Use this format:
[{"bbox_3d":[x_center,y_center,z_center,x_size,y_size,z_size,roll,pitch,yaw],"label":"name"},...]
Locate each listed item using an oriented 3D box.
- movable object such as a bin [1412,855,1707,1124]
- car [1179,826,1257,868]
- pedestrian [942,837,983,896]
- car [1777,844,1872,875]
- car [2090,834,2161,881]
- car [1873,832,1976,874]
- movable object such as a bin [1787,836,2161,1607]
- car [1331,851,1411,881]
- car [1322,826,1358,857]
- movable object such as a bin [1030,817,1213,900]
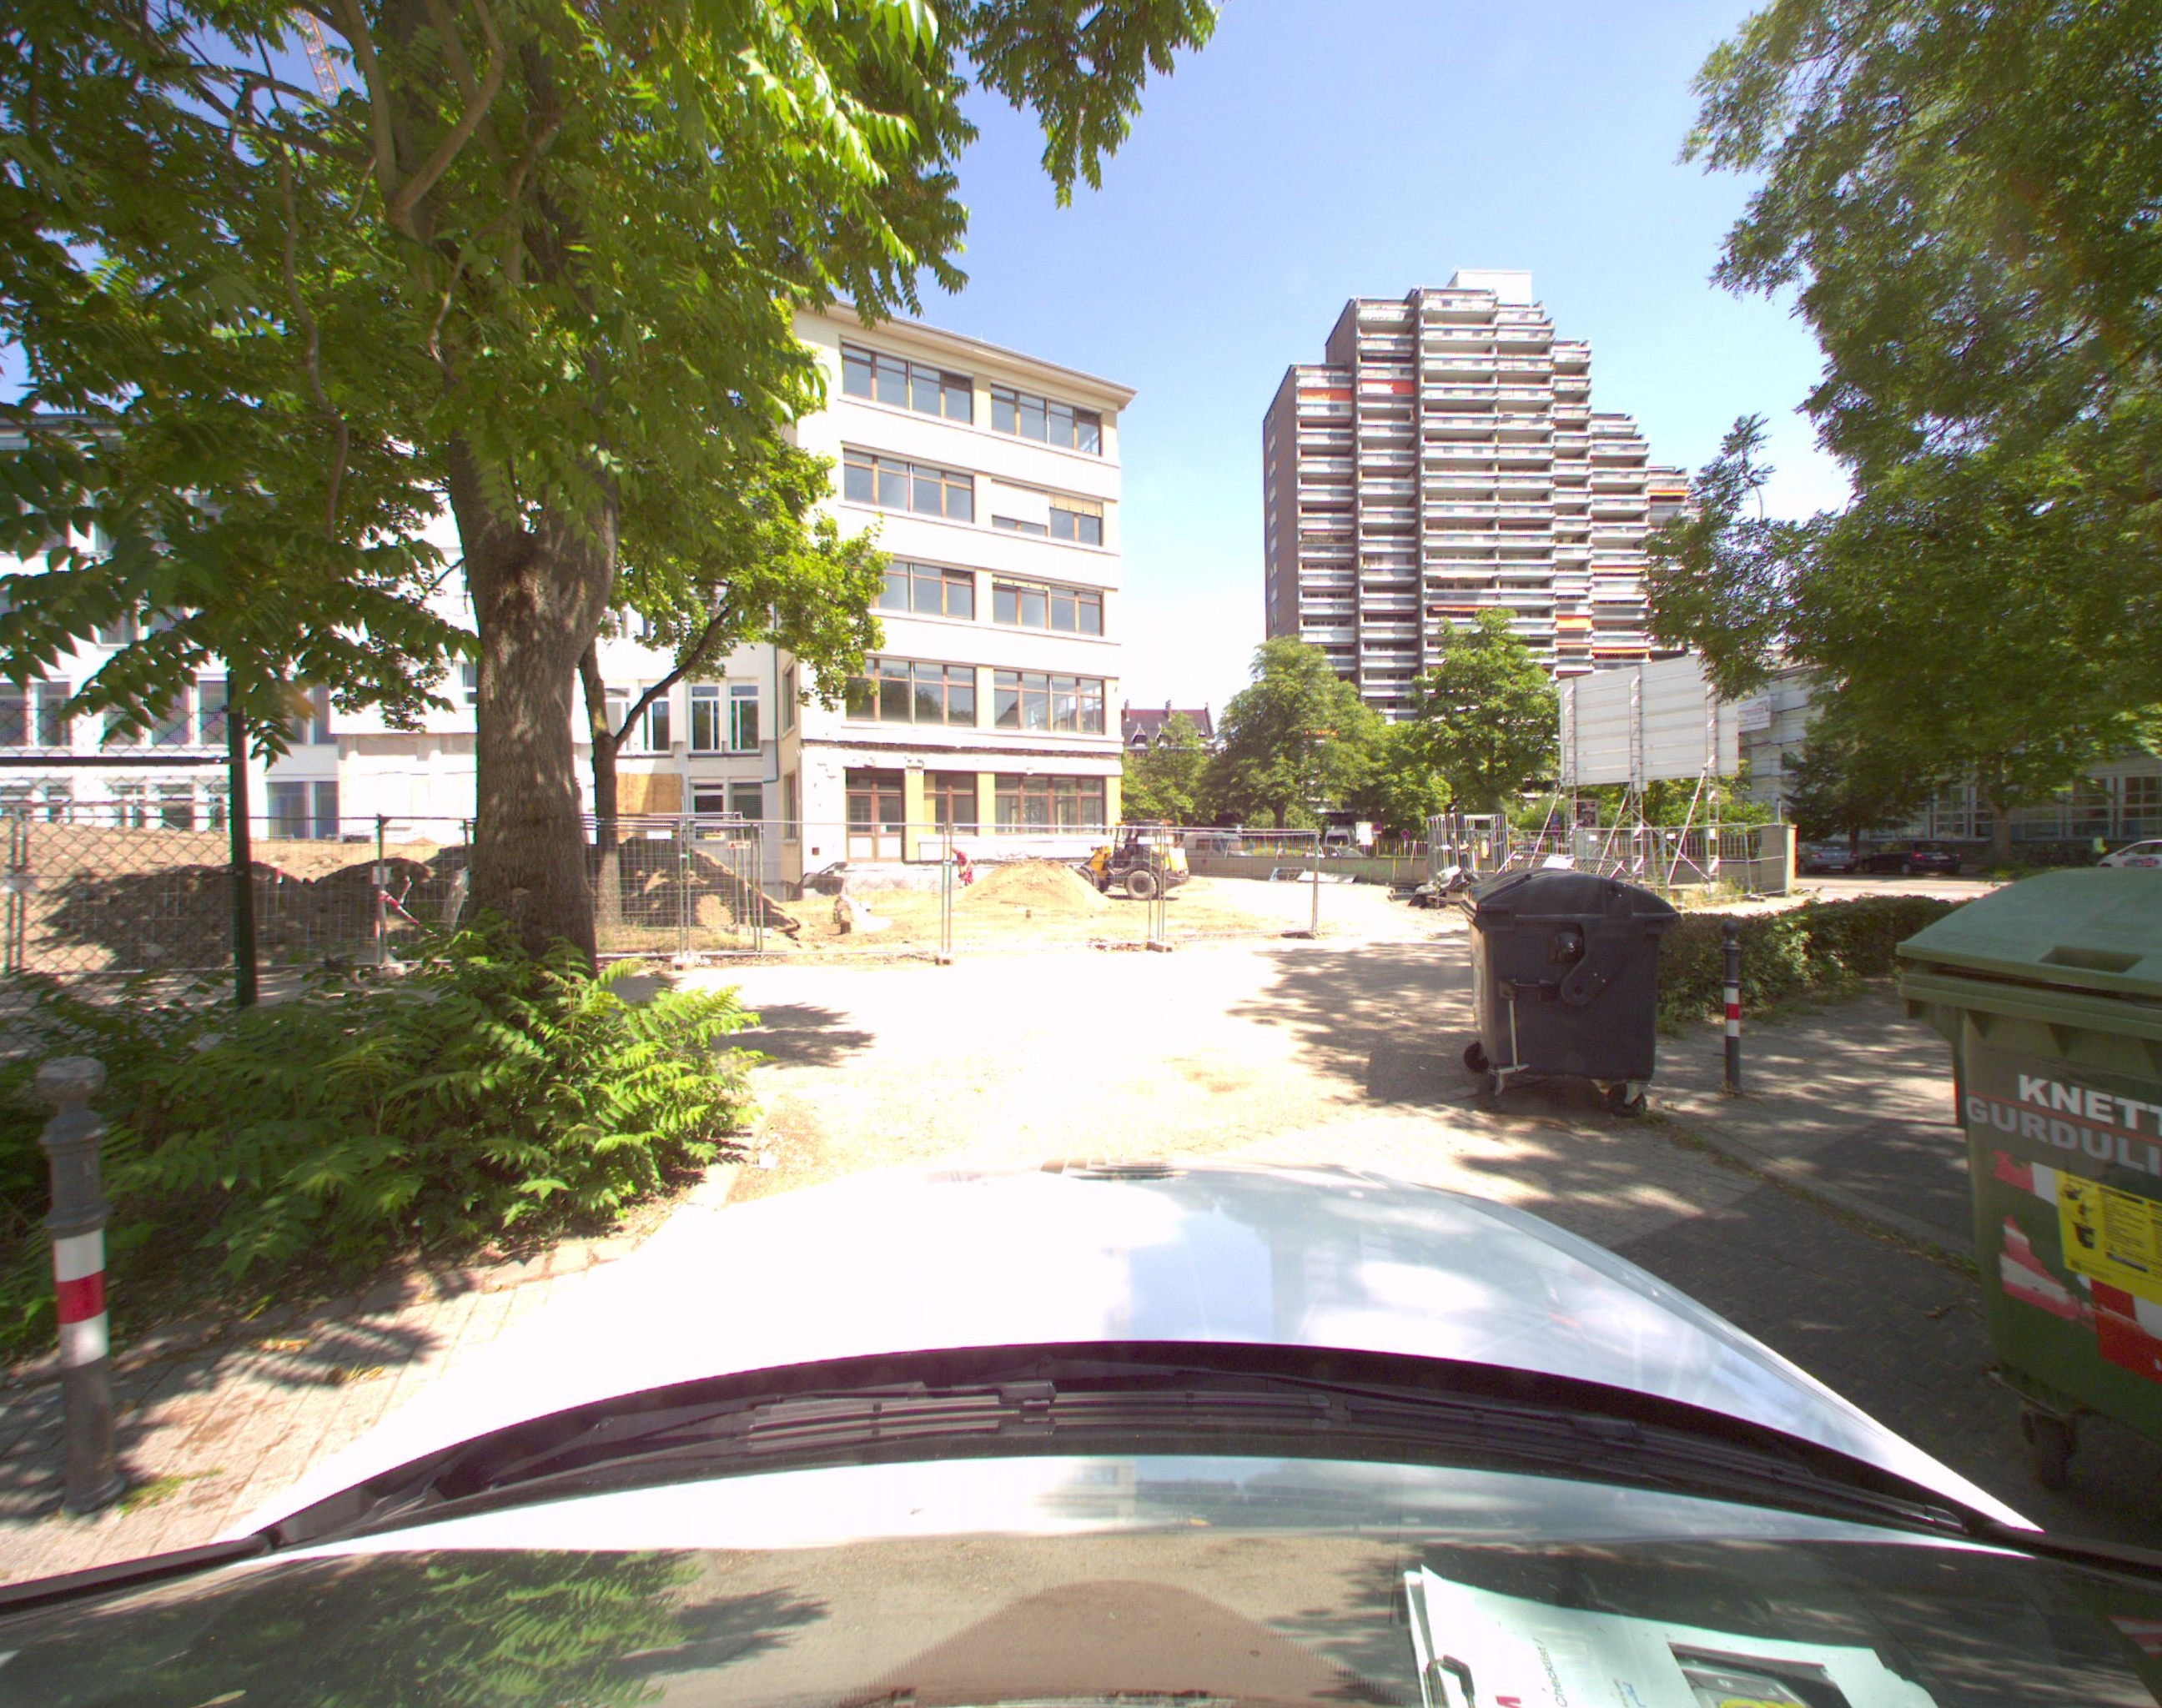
[{"bbox_3d":[2.912,0.749,5.170,1.071,1.458,1.377,-1,0,1],"label":"movable object such as a bin"},{"bbox_3d":[8.404,-0.407,50.426,2.005,2.416,5.195,-1,0,-28],"label":"car"},{"bbox_3d":[-3.828,0.400,26.313,0.990,1.847,0.907,-1,0,-33],"label":"pedestrian"},{"bbox_3d":[33.487,0.208,36.822,1.897,1.310,3.952,-1,0,22],"label":"car"},{"bbox_3d":[38.328,0.100,28.700,1.651,1.589,3.708,-1,0,16],"label":"car"},{"bbox_3d":[35.298,-0.045,34.224,1.992,1.629,3.955,-1,0,31],"label":"car"},{"bbox_3d":[2.576,0.689,1.663,1.071,1.458,1.377,-1,0,1],"label":"movable object such as a bin"},{"bbox_3d":[14.220,0.570,39.886,3.735,1.320,1.599,-1,0,-29],"label":"car"},{"bbox_3d":[19.882,-0.912,62.394,2.165,2.258,4.895,-1,0,22],"label":"car"},{"bbox_3d":[1.299,0.090,26.233,5.355,2.464,2.381,1,1,23],"label":"movable object such as a bin"}]
